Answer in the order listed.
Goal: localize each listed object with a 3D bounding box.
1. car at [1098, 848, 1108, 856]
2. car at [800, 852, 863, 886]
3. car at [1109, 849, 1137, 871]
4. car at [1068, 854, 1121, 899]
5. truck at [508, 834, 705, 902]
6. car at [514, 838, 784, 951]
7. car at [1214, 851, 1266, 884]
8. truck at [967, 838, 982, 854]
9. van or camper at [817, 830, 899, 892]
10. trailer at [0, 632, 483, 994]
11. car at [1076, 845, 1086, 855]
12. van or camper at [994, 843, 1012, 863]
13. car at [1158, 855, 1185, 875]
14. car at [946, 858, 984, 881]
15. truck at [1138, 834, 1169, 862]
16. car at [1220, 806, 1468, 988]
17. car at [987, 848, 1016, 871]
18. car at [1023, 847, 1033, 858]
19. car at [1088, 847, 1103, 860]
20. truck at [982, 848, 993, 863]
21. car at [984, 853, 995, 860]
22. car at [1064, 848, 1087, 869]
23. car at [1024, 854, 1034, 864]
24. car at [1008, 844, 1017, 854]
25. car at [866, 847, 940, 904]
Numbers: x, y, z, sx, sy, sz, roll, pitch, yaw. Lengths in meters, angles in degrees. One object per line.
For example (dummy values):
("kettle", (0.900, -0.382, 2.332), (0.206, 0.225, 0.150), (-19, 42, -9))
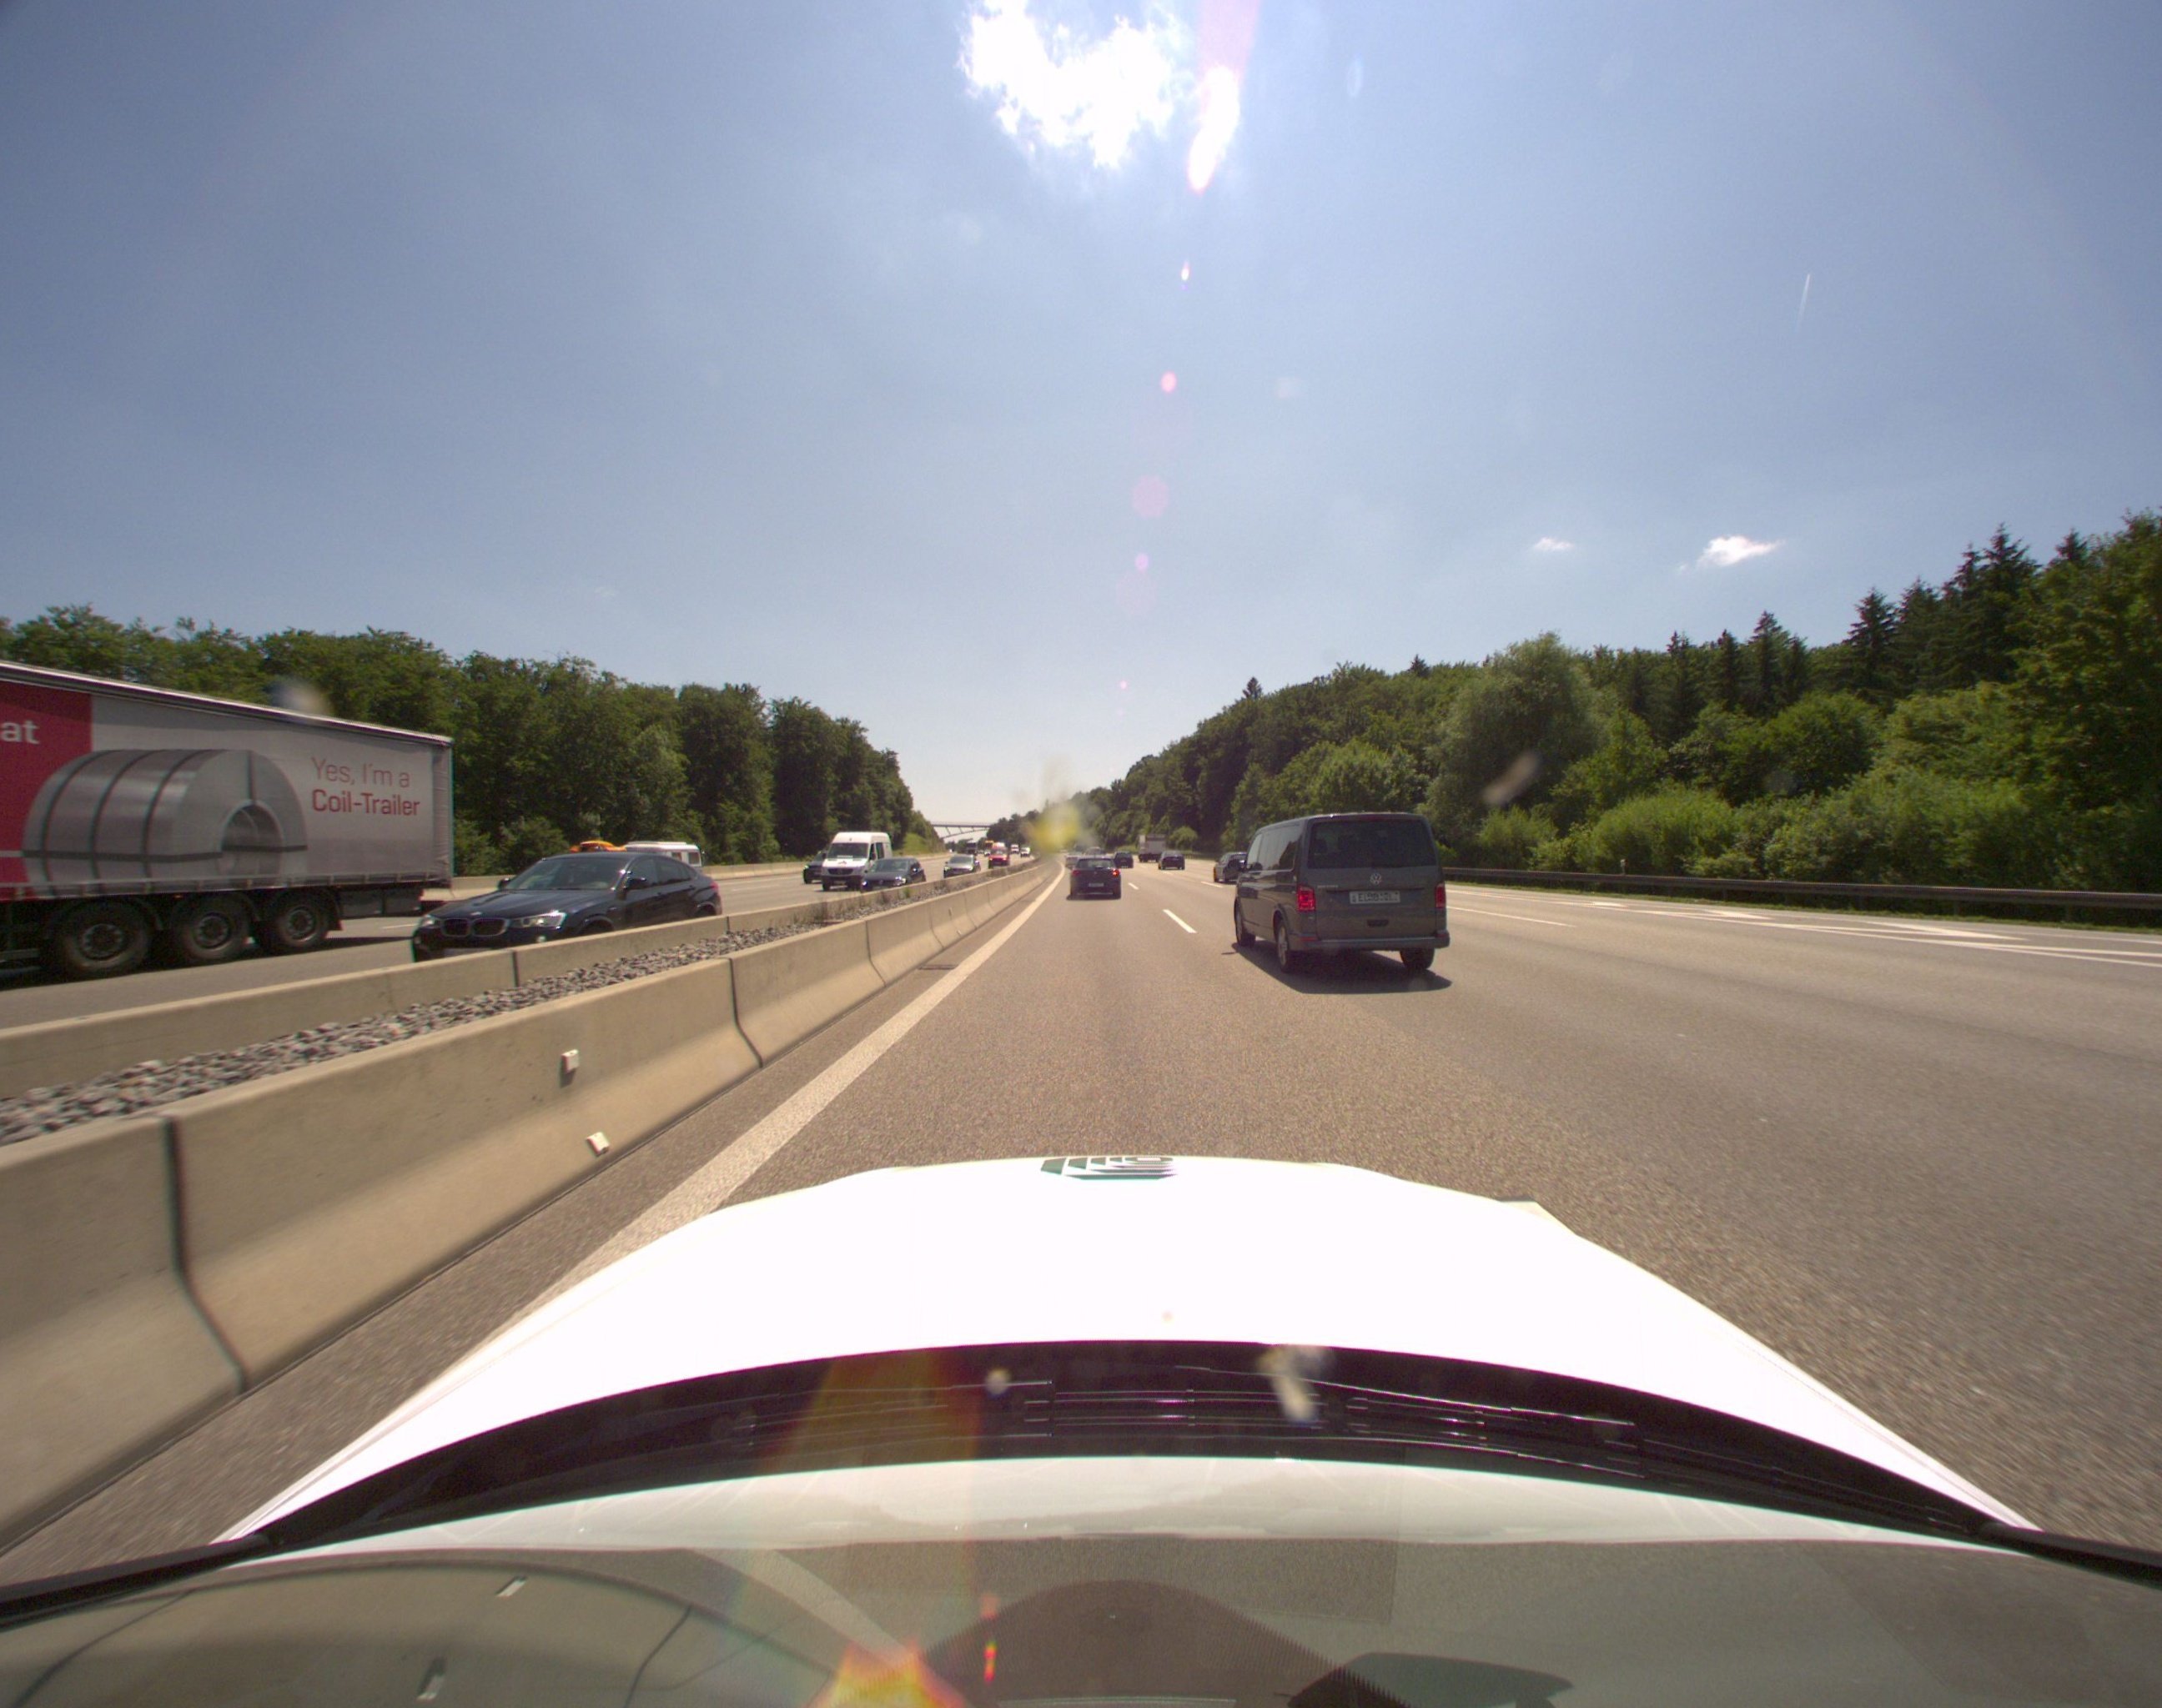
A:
("car", (5.046, -0.481, 185.699), (2.140, 1.858, 3.996), (0, -1, -3))
("car", (-13.791, 0.808, 45.380), (1.988, 1.762, 5.067), (-1, 0, -1))
("car", (3.627, 0.549, 70.456), (1.989, 1.728, 4.144), (-1, -2, -3))
("car", (0.494, 0.707, 28.123), (1.702, 1.433, 4.001), (0, 0, 1))
("truck", (-17.904, 0.512, 31.634), (2.038, 2.254, 8.830), (0, -1, 3))
("car", (-6.708, 0.576, 13.401), (1.763, 1.509, 4.825), (0, -1, 1))
("car", (7.320, 0.578, 37.767), (1.696, 1.396, 4.155), (-1, 0, 1))
("truck", (-24.708, -1.809, 189.279), (2.603, 3.465, 9.873), (0, 0, -2))
("van or camper", (-10.108, 0.291, 37.467), (2.094, 2.566, 6.396), (-1, 0, -1))
("trailer", (-14.691, -0.497, 9.969), (3.822, 4.280, 14.476), (0, 0, 1))
("car", (0.027, -0.938, 190.096), (2.258, 2.371, 4.700), (-1, -1, 0))
("van or camper", (-11.508, -0.154, 120.756), (1.988, 2.799, 7.410), (-1, 0, -1))
("car", (6.993, 0.854, 63.497), (1.659, 1.408, 4.905), (-1, 1, 1))
("car", (-6.962, 0.908, 49.188), (1.635, 1.350, 4.000), (0, 0, 0))
("truck", (8.441, -0.683, 95.646), (2.976, 3.166, 7.574), (-1, 0, 0))
("car", (3.415, 0.489, 11.754), (1.956, 2.033, 5.083), (-1, 0, 0))
("car", (-7.314, 0.489, 75.190), (2.229, 2.013, 4.228), (-1, 0, 0))
("car", (-10.063, -0.299, 156.043), (1.815, 1.871, 4.583), (-1, 0, -3))
("car", (2.022, -0.065, 117.313), (2.096, 1.744, 4.687), (-1, 0, 0))
("truck", (-26.280, 0.399, 228.918), (2.526, 3.940, 6.792), (-1, 0, -4))
("car", (-19.068, 0.492, 169.969), (1.758, 1.482, 4.492), (0, 0, -1))
("car", (-0.536, 0.489, 78.056), (2.005, 1.846, 4.000), (-1, -3, 2))
("car", (-11.601, 1.083, 181.305), (1.988, 2.014, 3.996), (0, -2, -2))
("car", (-18.015, -1.264, 214.780), (2.151, 2.490, 4.694), (-1, 0, -4))
("car", (-6.562, 0.798, 30.561), (1.765, 1.944, 5.083), (0, -1, -1))
